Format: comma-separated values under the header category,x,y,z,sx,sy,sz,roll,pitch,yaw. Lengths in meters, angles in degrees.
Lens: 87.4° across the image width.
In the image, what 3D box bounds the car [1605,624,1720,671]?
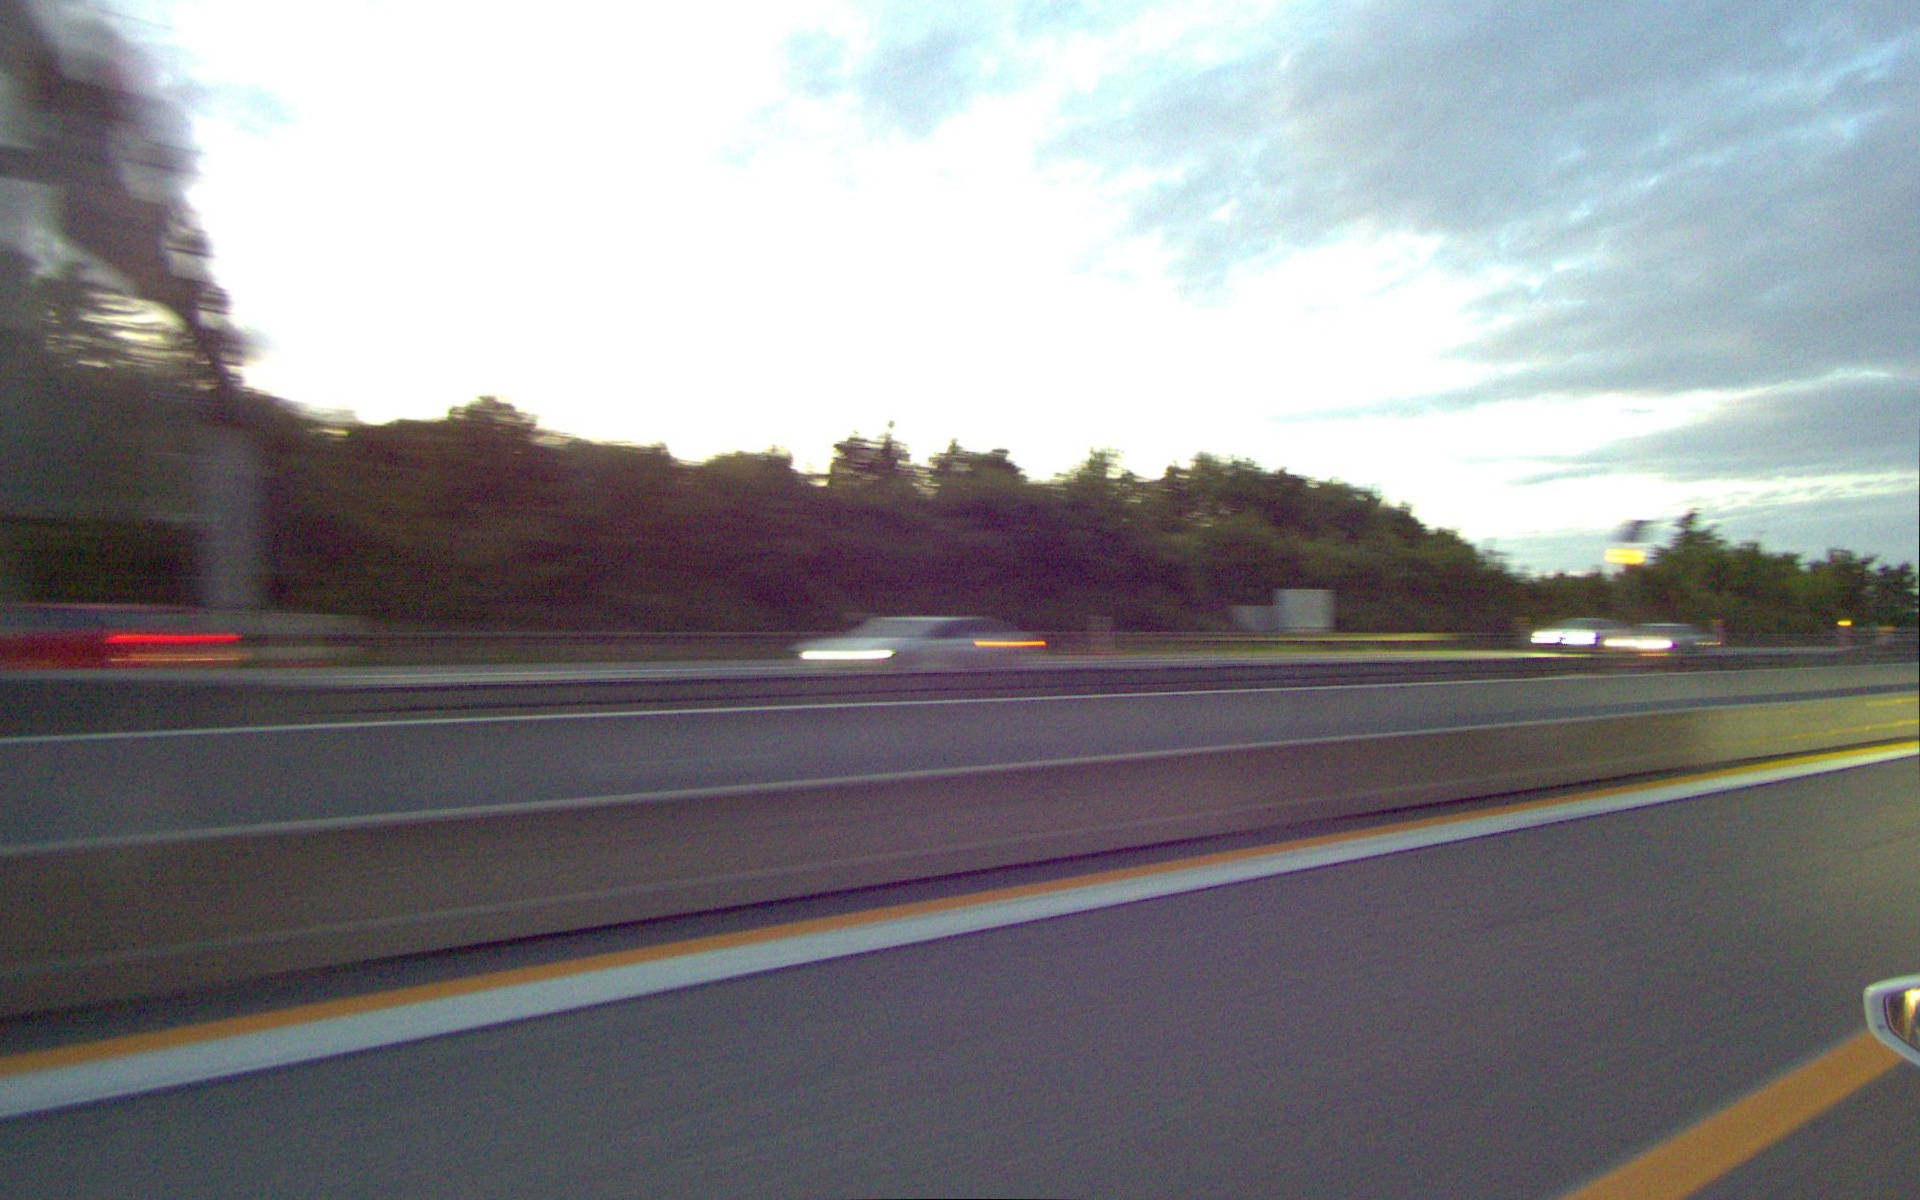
category,x,y,z,sx,sy,sz,roll,pitch,yaw
car,27.731,1.859,39.617,4.784,1.683,1.822,2,1,-30

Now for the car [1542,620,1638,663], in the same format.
category,x,y,z,sx,sy,sz,roll,pitch,yaw
car,27.771,1.811,44.284,3.895,1.737,1.898,2,1,-29

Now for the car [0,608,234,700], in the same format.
category,x,y,z,sx,sy,sz,roll,pitch,yaw
car,-15.508,0.935,17.986,3.885,1.475,1.694,2,1,-31

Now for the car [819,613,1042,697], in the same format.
category,x,y,z,sx,sy,sz,roll,pitch,yaw
car,-0.629,1.210,22.838,4.784,1.683,1.822,2,1,-30
